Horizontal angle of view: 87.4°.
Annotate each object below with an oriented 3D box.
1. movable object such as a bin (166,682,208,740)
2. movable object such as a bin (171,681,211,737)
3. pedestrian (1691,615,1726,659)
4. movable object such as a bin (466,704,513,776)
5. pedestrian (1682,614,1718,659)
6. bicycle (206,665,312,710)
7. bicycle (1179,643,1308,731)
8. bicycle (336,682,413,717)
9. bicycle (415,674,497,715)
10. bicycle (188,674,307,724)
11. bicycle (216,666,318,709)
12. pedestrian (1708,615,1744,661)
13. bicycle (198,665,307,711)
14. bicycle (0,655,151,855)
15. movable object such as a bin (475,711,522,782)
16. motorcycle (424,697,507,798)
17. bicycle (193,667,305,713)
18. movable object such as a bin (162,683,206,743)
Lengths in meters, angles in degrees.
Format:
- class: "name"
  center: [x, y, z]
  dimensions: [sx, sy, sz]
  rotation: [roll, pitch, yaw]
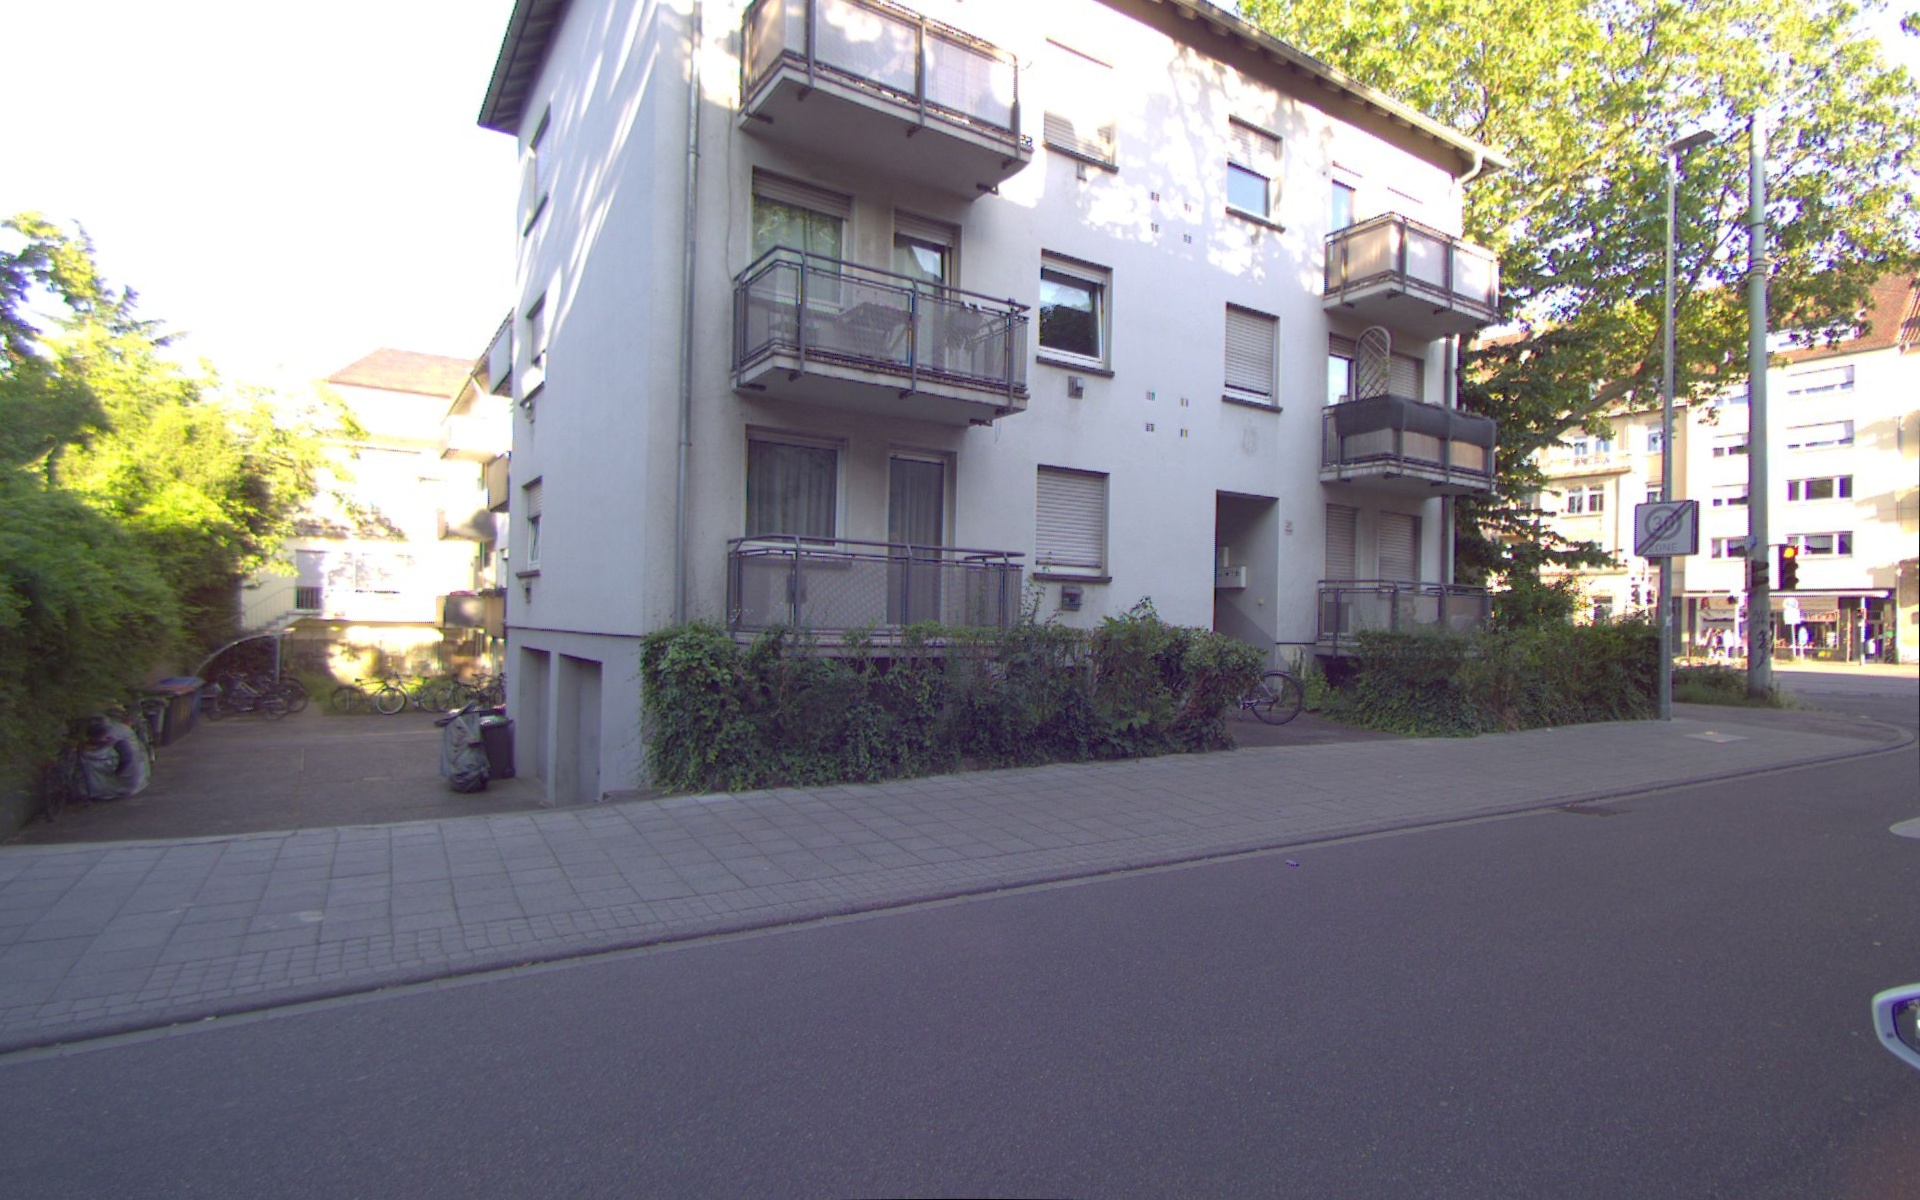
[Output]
- class: "movable object such as a bin"
  center: [-15.929, 2.271, 20.723]
  dimensions: [0.606, 1.129, 0.795]
  rotation: [1, -3, -33]
- class: "movable object such as a bin"
  center: [-16.362, 2.301, 21.384]
  dimensions: [0.606, 1.129, 0.795]
  rotation: [1, -3, -33]
- class: "pedestrian"
  center: [43.061, 2.118, 57.815]
  dimensions: [1.049, 2.497, 1.338]
  rotation: [1, 0, -34]
- class: "movable object such as a bin"
  center: [-7.915, 2.338, 16.901]
  dimensions: [0.606, 1.129, 0.795]
  rotation: [1, -3, -33]
- class: "pedestrian"
  center: [41.688, 2.055, 56.576]
  dimensions: [1.049, 2.497, 1.338]
  rotation: [1, 0, -34]
- class: "bicycle"
  center: [-19.372, 2.413, 27.815]
  dimensions: [2.311, 1.192, 0.689]
  rotation: [2, -4, -30]
- class: "bicycle"
  center: [3.830, 1.157, 13.572]
  dimensions: [1.590, 1.022, 0.517]
  rotation: [3, 1, 20]
- class: "bicycle"
  center: [-15.566, 2.641, 26.744]
  dimensions: [1.734, 0.890, 0.561]
  rotation: [2, -4, -30]
- class: "bicycle"
  center: [-13.912, 2.589, 27.744]
  dimensions: [1.982, 1.085, 0.561]
  rotation: [2, -4, -30]
- class: "bicycle"
  center: [-17.336, 2.398, 24.524]
  dimensions: [2.268, 1.148, 0.689]
  rotation: [2, -4, -30]
- class: "bicycle"
  center: [-19.643, 2.468, 28.539]
  dimensions: [2.311, 1.192, 0.689]
  rotation: [2, -4, -30]
- class: "pedestrian"
  center: [42.832, 2.101, 56.171]
  dimensions: [1.049, 2.497, 1.338]
  rotation: [1, 0, -34]
- class: "bicycle"
  center: [-19.026, 2.363, 27.090]
  dimensions: [2.311, 1.192, 0.689]
  rotation: [2, -4, -30]
- class: "bicycle"
  center: [-10.600, 1.666, 11.979]
  dimensions: [0.961, 1.917, 4.156]
  rotation: [1, -2, -32]
- class: "movable object such as a bin"
  center: [-7.400, 2.337, 16.089]
  dimensions: [0.606, 1.051, 0.534]
  rotation: [1, -3, -34]
- class: "motorcycle"
  center: [-7.403, 2.161, 15.007]
  dimensions: [0.739, 1.313, 1.563]
  rotation: [2, -2, -41]
- class: "bicycle"
  center: [-18.600, 2.341, 26.343]
  dimensions: [2.311, 1.148, 0.689]
  rotation: [2, -4, -30]
- class: "movable object such as a bin"
  center: [-15.488, 2.239, 20.052]
  dimensions: [0.606, 1.129, 0.795]
  rotation: [1, -3, -33]
